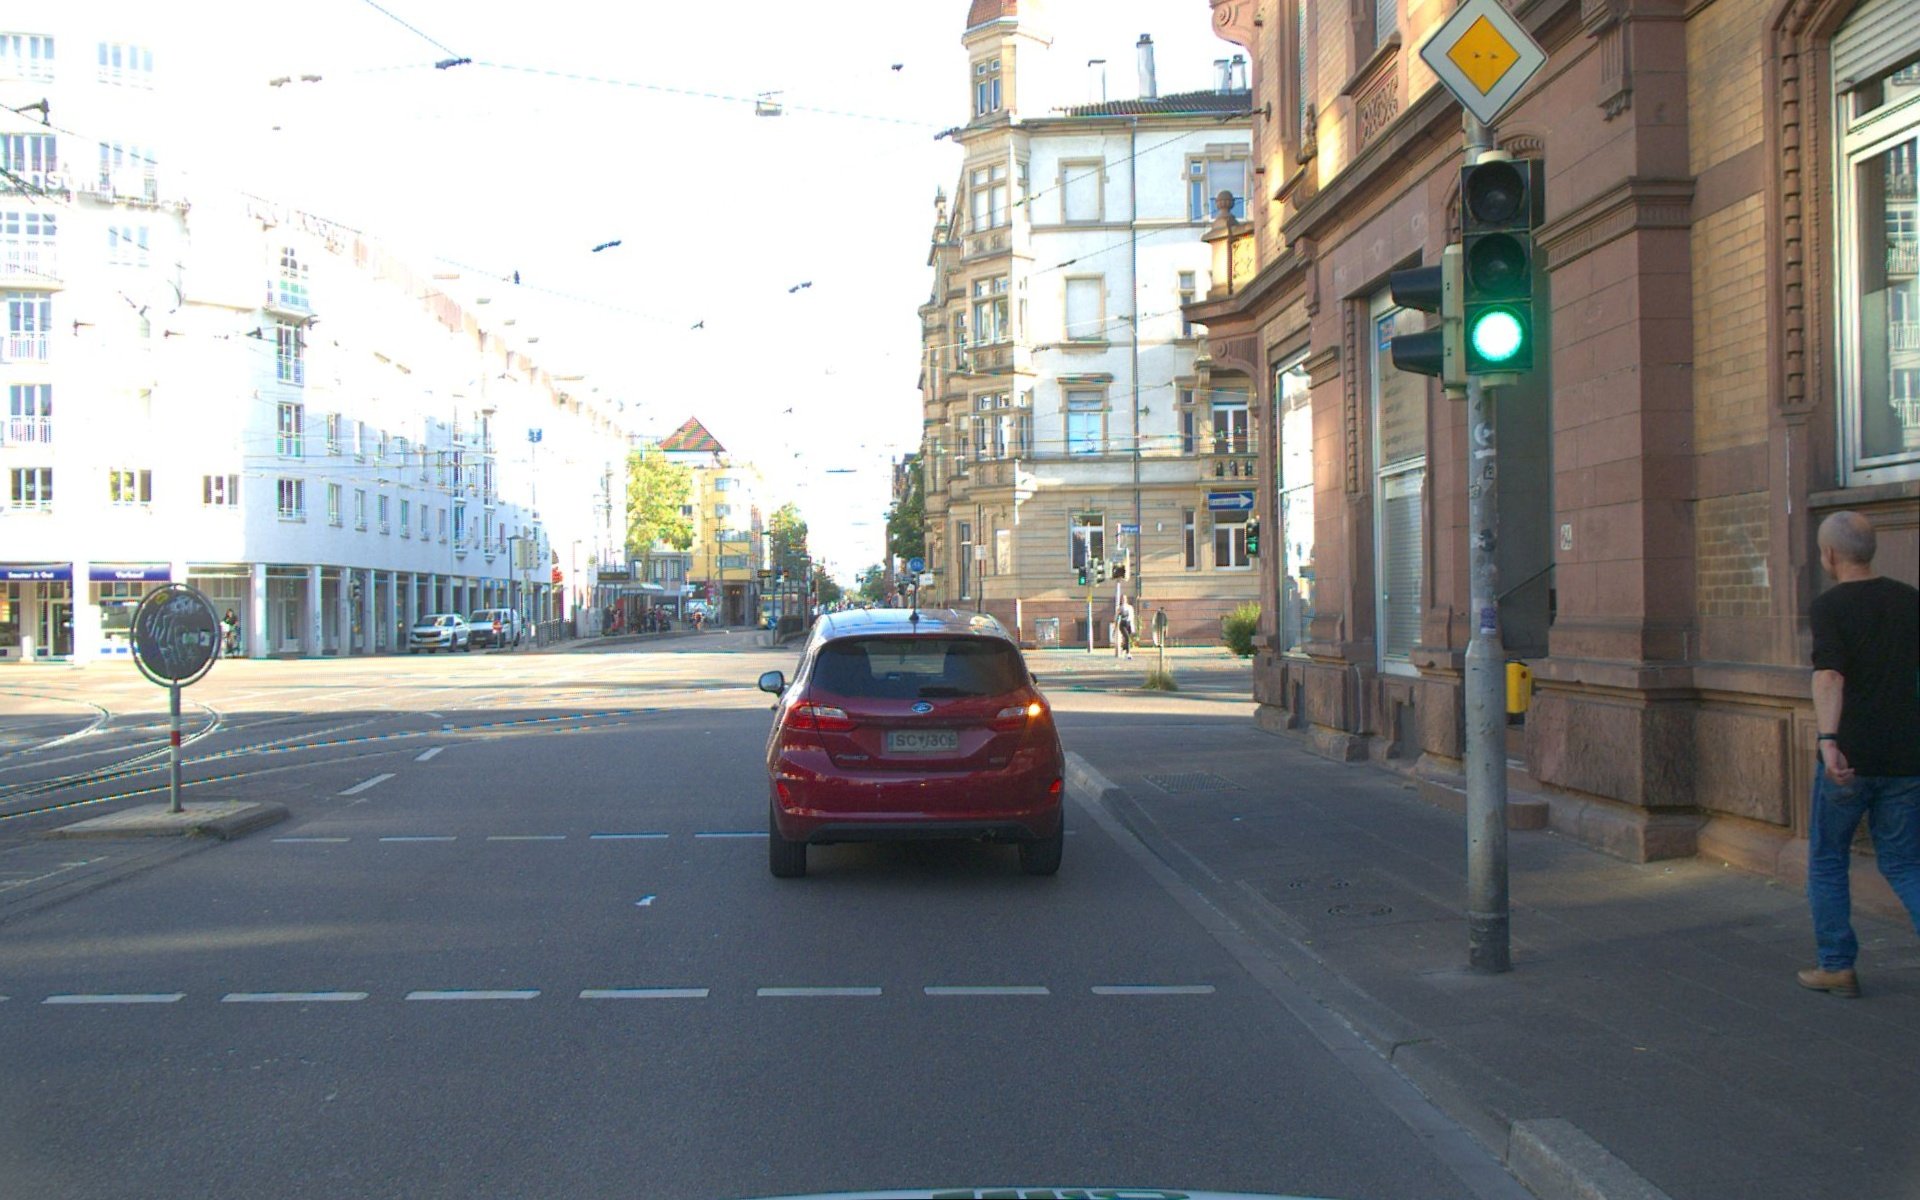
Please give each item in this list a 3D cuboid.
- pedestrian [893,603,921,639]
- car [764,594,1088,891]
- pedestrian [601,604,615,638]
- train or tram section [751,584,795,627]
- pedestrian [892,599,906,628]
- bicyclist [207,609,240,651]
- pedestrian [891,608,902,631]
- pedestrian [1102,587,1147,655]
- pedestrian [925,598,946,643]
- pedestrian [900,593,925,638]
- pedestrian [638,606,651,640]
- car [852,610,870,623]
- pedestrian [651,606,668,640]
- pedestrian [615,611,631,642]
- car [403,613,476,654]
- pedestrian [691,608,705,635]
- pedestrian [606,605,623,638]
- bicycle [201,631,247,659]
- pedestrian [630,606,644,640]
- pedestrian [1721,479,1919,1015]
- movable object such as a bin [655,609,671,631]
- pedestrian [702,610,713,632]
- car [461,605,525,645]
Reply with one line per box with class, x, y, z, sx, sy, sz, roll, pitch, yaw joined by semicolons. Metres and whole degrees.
pedestrian;-2.102;0.828;65.073;0.707;1.355;0.792;-4;-2;42
car;-0.327;0.757;10.362;1.659;1.522;3.576;1;0;-5
pedestrian;-18.034;1.096;84.782;0.587;1.721;0.613;-1;-1;-3
train or tram section;-16.683;0.510;148.273;2.827;3.551;14.160;-1;0;-2
pedestrian;-3.572;0.780;96.950;0.747;1.674;0.832;-3;0;-4
bicyclist;-26.651;1.081;59.886;0.824;1.493;0.895;-1;0;-5
pedestrian;-5.024;1.531;131.184;0.699;1.805;0.772;-4;1;-6
pedestrian;4.517;0.576;45.427;1.003;1.838;1.081;-1;0;-7
pedestrian;-1.038;0.859;69.538;0.785;1.855;0.797;-3;0;-4
pedestrian;-1.894;0.631;65.933;0.781;1.751;0.716;-2;-2;-17
pedestrian;-18.240;1.312;95.564;0.682;1.938;0.671;-1;-1;-6
car;-11.138;1.847;185.883;1.954;1.475;3.997;0;0;-3
pedestrian;-17.655;1.344;97.100;0.914;1.938;0.880;-1;-1;-6
pedestrian;-18.528;1.445;90.833;0.687;1.721;0.666;0;-1;-27
car;-22.346;1.425;71.205;1.954;1.648;4.507;-1;0;-4
pedestrian;-19.007;1.588;119.900;0.865;1.938;0.929;0;-1;-19
pedestrian;-18.136;1.127;86.783;0.751;1.763;0.518;-2;-1;38
bicycle;-26.654;1.637;59.918;0.824;0.943;2.262;-1;0;-5
pedestrian;-18.474;1.295;94.681;0.682;1.938;0.671;-1;-1;-6
pedestrian;3.282;0.474;5.839;0.760;1.753;0.754;-2;0;-3
movable object such as a bin;-18.550;1.257;103.368;0.919;1.309;0.934;-1;-1;-6
pedestrian;-23.094;1.928;151.294;0.865;1.938;0.929;0;-1;-19
car;-22.956;1.222;81.483;1.954;1.870;5.342;-1;0;-4
